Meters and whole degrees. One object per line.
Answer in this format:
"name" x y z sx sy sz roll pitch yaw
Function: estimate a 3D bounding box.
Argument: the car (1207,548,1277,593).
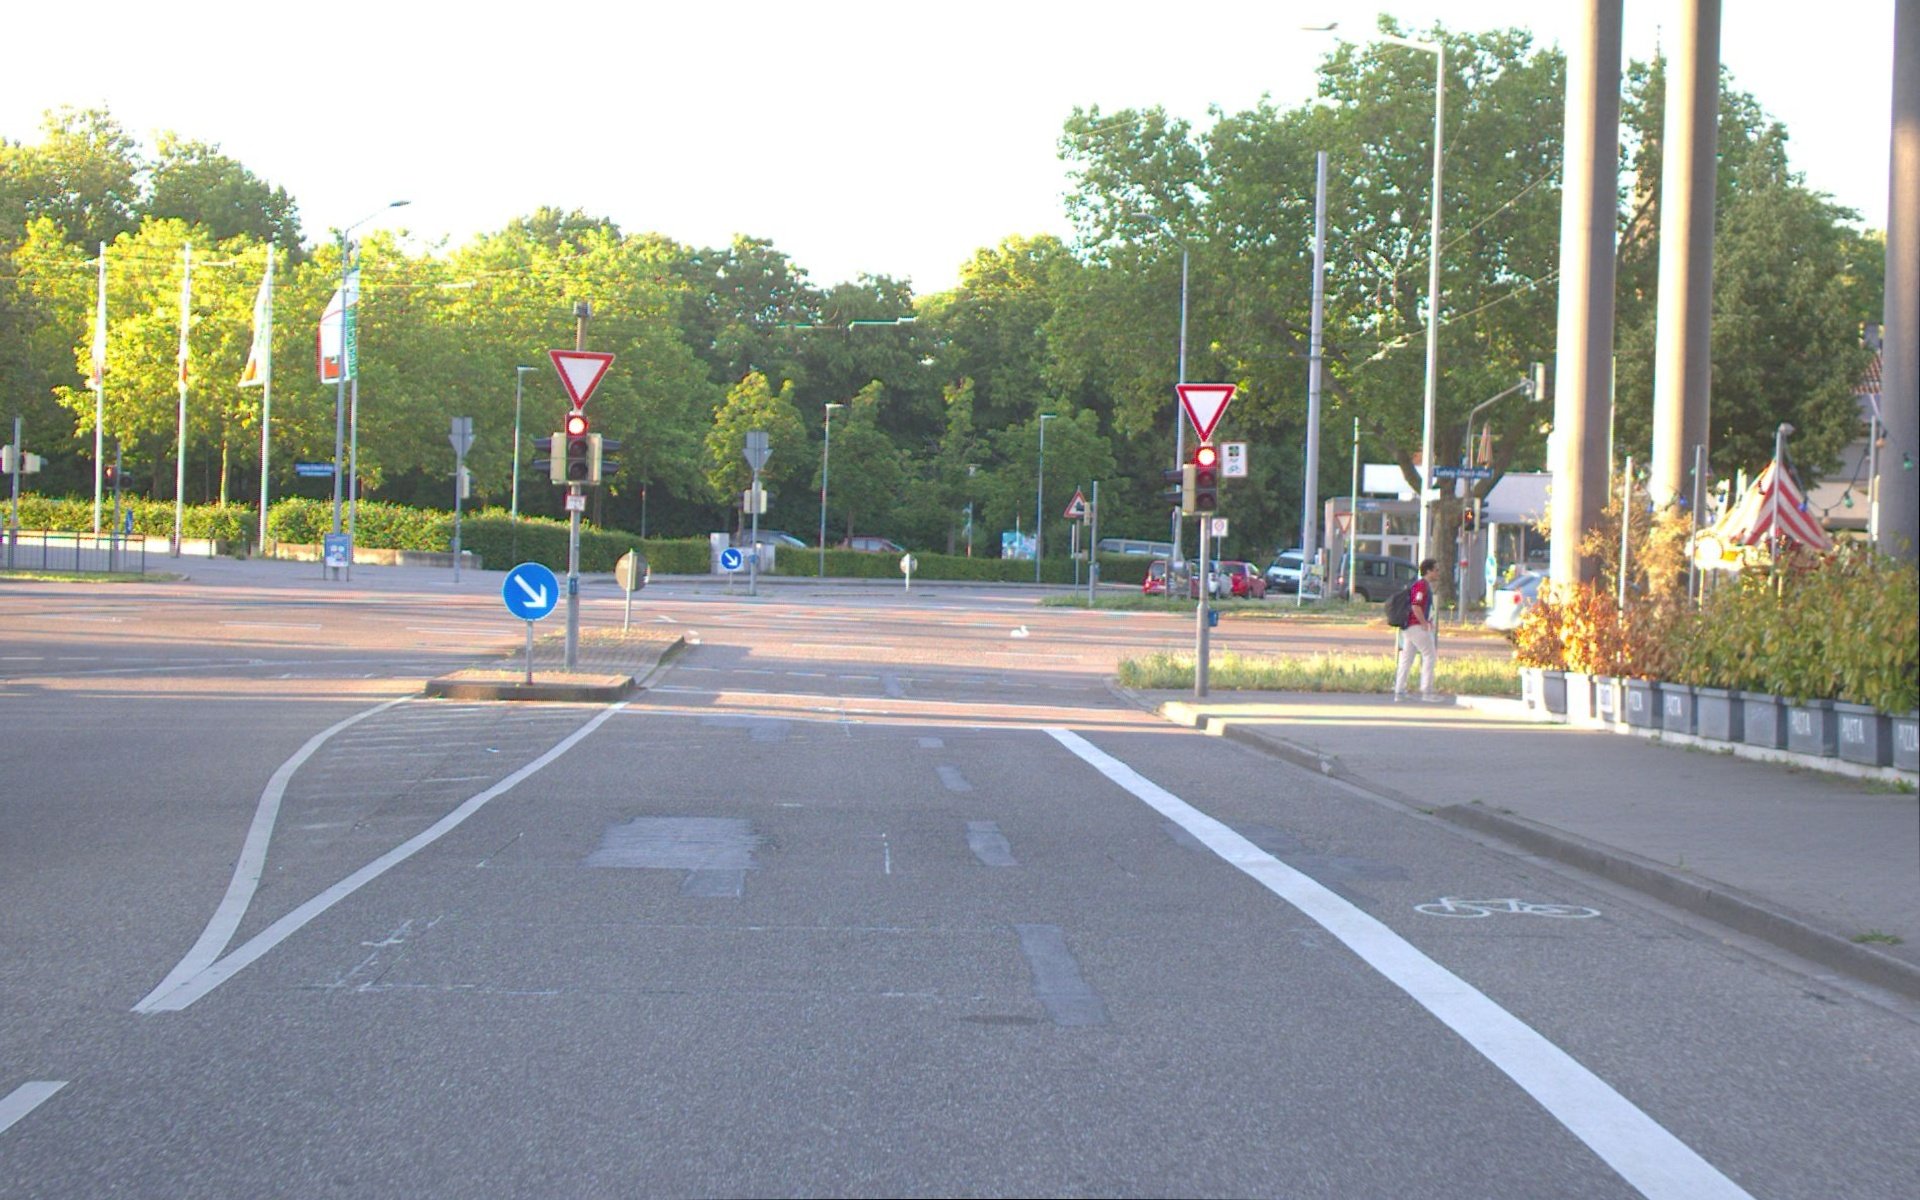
"car" 10.813 -1.148 131.654 1.499 1.600 3.398 3 2 25

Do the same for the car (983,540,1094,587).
"car" 3.449 -1.624 151.192 4.685 1.862 2.013 2 2 6

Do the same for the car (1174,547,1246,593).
"car" 9.322 -1.146 128.008 1.499 1.600 3.398 3 2 25

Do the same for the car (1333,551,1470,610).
"car" 15.089 -0.680 117.678 4.468 1.810 1.945 2 2 5

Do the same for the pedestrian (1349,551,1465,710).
"pedestrian" 5.336 0.357 41.078 1.053 1.827 0.895 1 2 -14

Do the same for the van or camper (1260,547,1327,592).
"van or camper" 15.475 -1.436 159.347 1.627 1.975 3.801 3 3 29

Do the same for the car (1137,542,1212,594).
"car" 7.771 -1.169 124.416 1.499 1.754 3.398 3 2 25

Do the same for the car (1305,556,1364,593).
"car" 15.639 -1.072 143.432 1.499 1.472 3.080 3 2 25

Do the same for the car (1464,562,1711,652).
"car" 11.198 0.110 61.459 4.022 1.414 1.603 2 2 -3
